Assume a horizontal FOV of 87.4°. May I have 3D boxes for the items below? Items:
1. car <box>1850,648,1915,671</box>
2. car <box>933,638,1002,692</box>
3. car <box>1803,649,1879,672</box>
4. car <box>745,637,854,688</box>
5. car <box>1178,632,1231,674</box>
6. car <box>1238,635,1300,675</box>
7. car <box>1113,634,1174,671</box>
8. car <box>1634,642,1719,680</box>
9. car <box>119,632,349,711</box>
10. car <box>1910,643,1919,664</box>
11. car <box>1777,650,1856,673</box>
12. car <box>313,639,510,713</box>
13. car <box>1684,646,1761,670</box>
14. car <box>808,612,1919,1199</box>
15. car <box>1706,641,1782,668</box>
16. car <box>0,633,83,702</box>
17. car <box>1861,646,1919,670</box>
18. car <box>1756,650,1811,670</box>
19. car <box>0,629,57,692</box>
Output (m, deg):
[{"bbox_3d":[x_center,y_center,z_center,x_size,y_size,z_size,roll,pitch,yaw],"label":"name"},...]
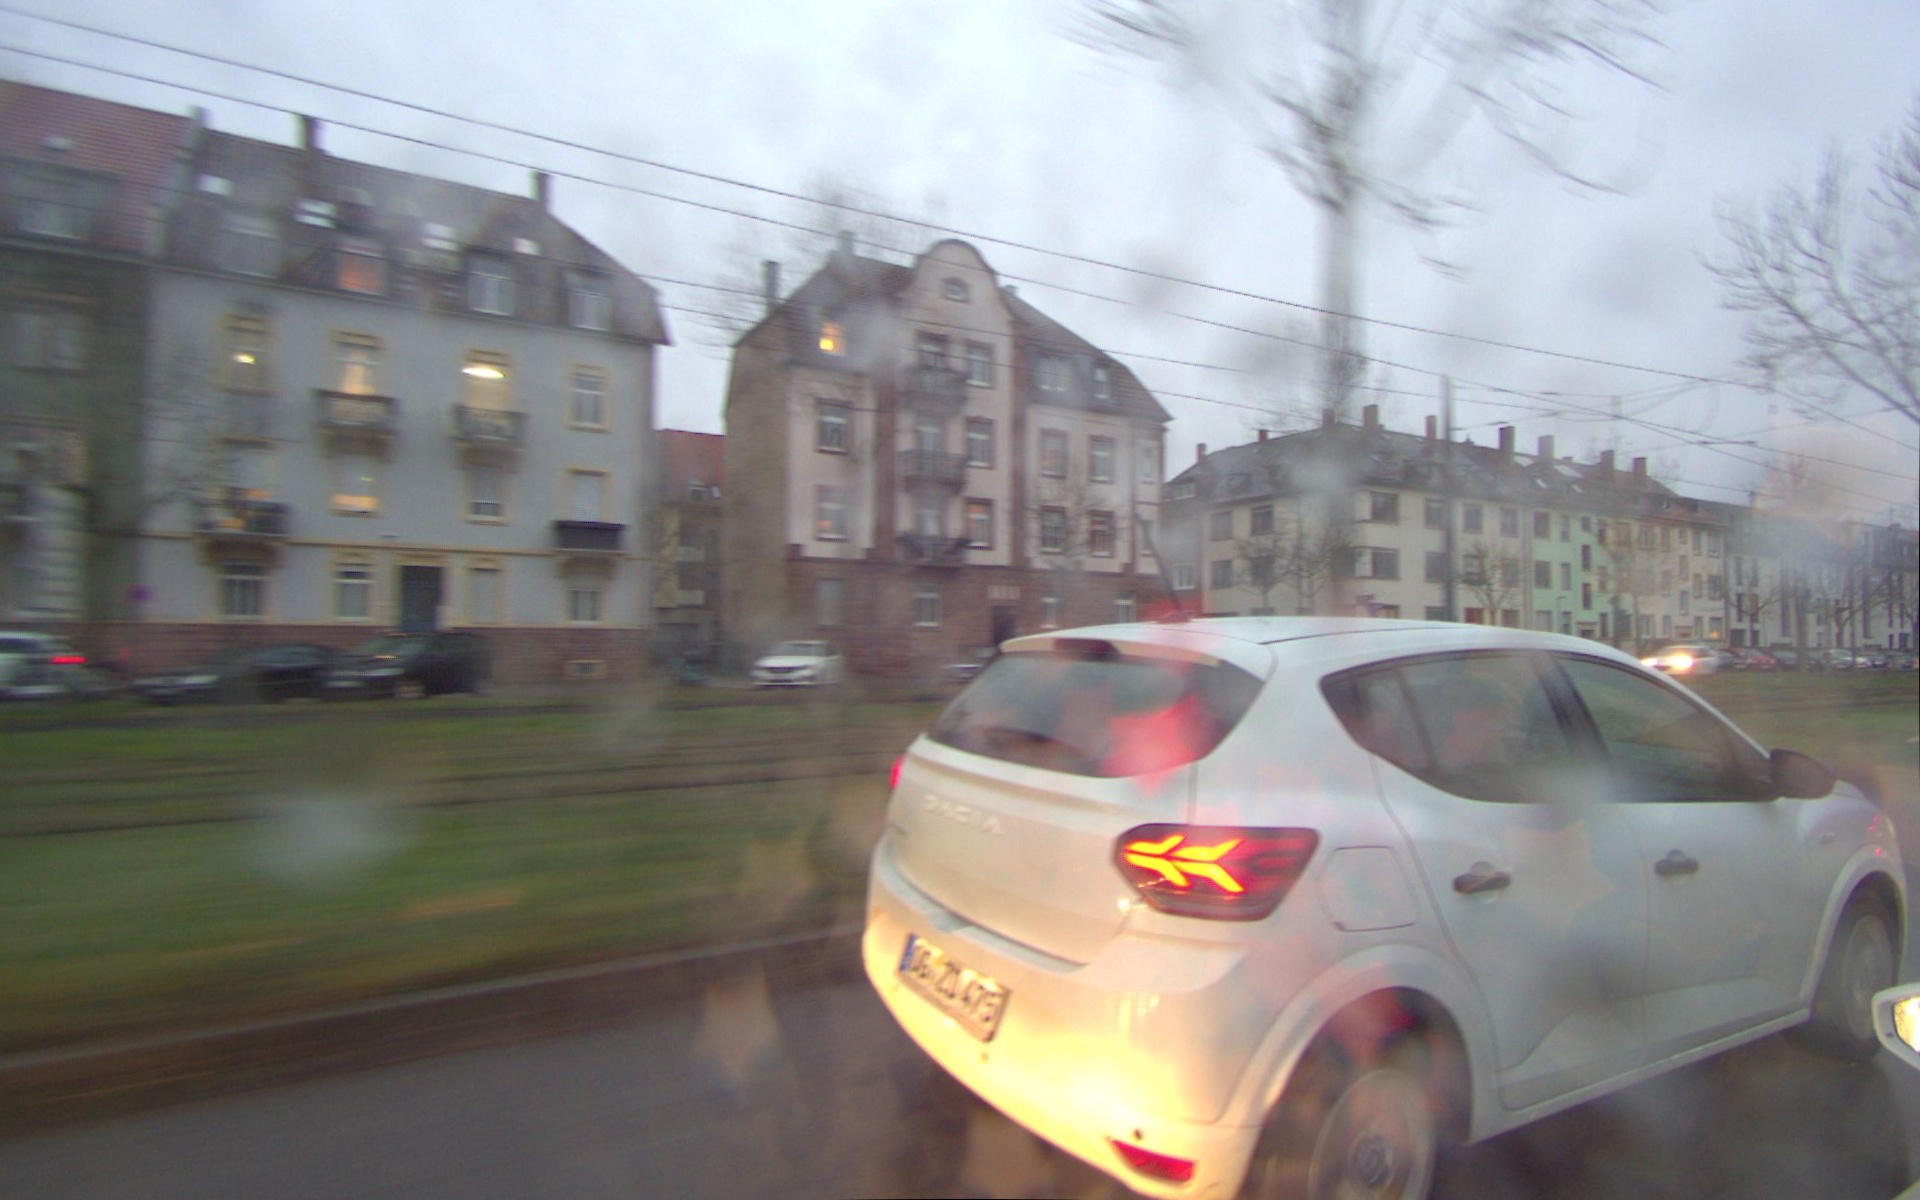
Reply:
[{"bbox_3d":[61.702,3.976,67.204,1.703,1.354,2.938,1,-1,3],"label":"car"},{"bbox_3d":[0.175,1.986,31.397,1.842,1.437,3.361,3,-1,-4],"label":"car"},{"bbox_3d":[55.662,3.811,63.581,1.702,1.262,3.846,1,-1,6],"label":"car"},{"bbox_3d":[-4.626,1.770,29.583,1.796,1.274,4.269,1,-1,11],"label":"car"},{"bbox_3d":[8.923,1.903,36.898,1.321,1.246,4.046,3,1,7],"label":"car"},{"bbox_3d":[11.854,2.080,38.762,1.677,1.176,4.107,3,1,9],"label":"car"},{"bbox_3d":[6.275,1.783,34.549,1.759,1.003,2.920,3,1,5],"label":"car"},{"bbox_3d":[30.817,2.594,43.169,3.738,1.524,1.539,2,-1,-29],"label":"car"},{"bbox_3d":[-15.849,1.505,22.208,1.783,1.467,3.954,1,0,10],"label":"car"},{"bbox_3d":[72.338,4.023,73.697,1.636,1.561,4.165,1,-1,6],"label":"car"},{"bbox_3d":[52.514,3.740,61.682,1.703,1.188,3.823,1,-1,3],"label":"car"},{"bbox_3d":[-12.794,1.719,23.826,1.660,1.451,4.667,1,-1,7],"label":"car"},{"bbox_3d":[42.552,3.233,56.116,1.702,1.156,3.573,1,-1,3],"label":"car"},{"bbox_3d":[1.644,0.836,3.477,3.954,1.494,1.680,2,-1,-30],"label":"car"},{"bbox_3d":[44.736,3.094,57.400,1.653,1.326,3.582,1,-1,3],"label":"car"},{"bbox_3d":[-23.361,1.581,23.848,3.497,1.572,1.672,2,-1,-30],"label":"car"},{"bbox_3d":[64.065,3.972,68.983,1.636,1.440,3.388,1,-1,9],"label":"car"},{"bbox_3d":[49.764,3.612,60.747,1.408,1.062,2.393,0,-1,3],"label":"car"},{"bbox_3d":[-25.294,1.519,25.467,3.230,1.549,1.603,2,-1,-30],"label":"car"}]
